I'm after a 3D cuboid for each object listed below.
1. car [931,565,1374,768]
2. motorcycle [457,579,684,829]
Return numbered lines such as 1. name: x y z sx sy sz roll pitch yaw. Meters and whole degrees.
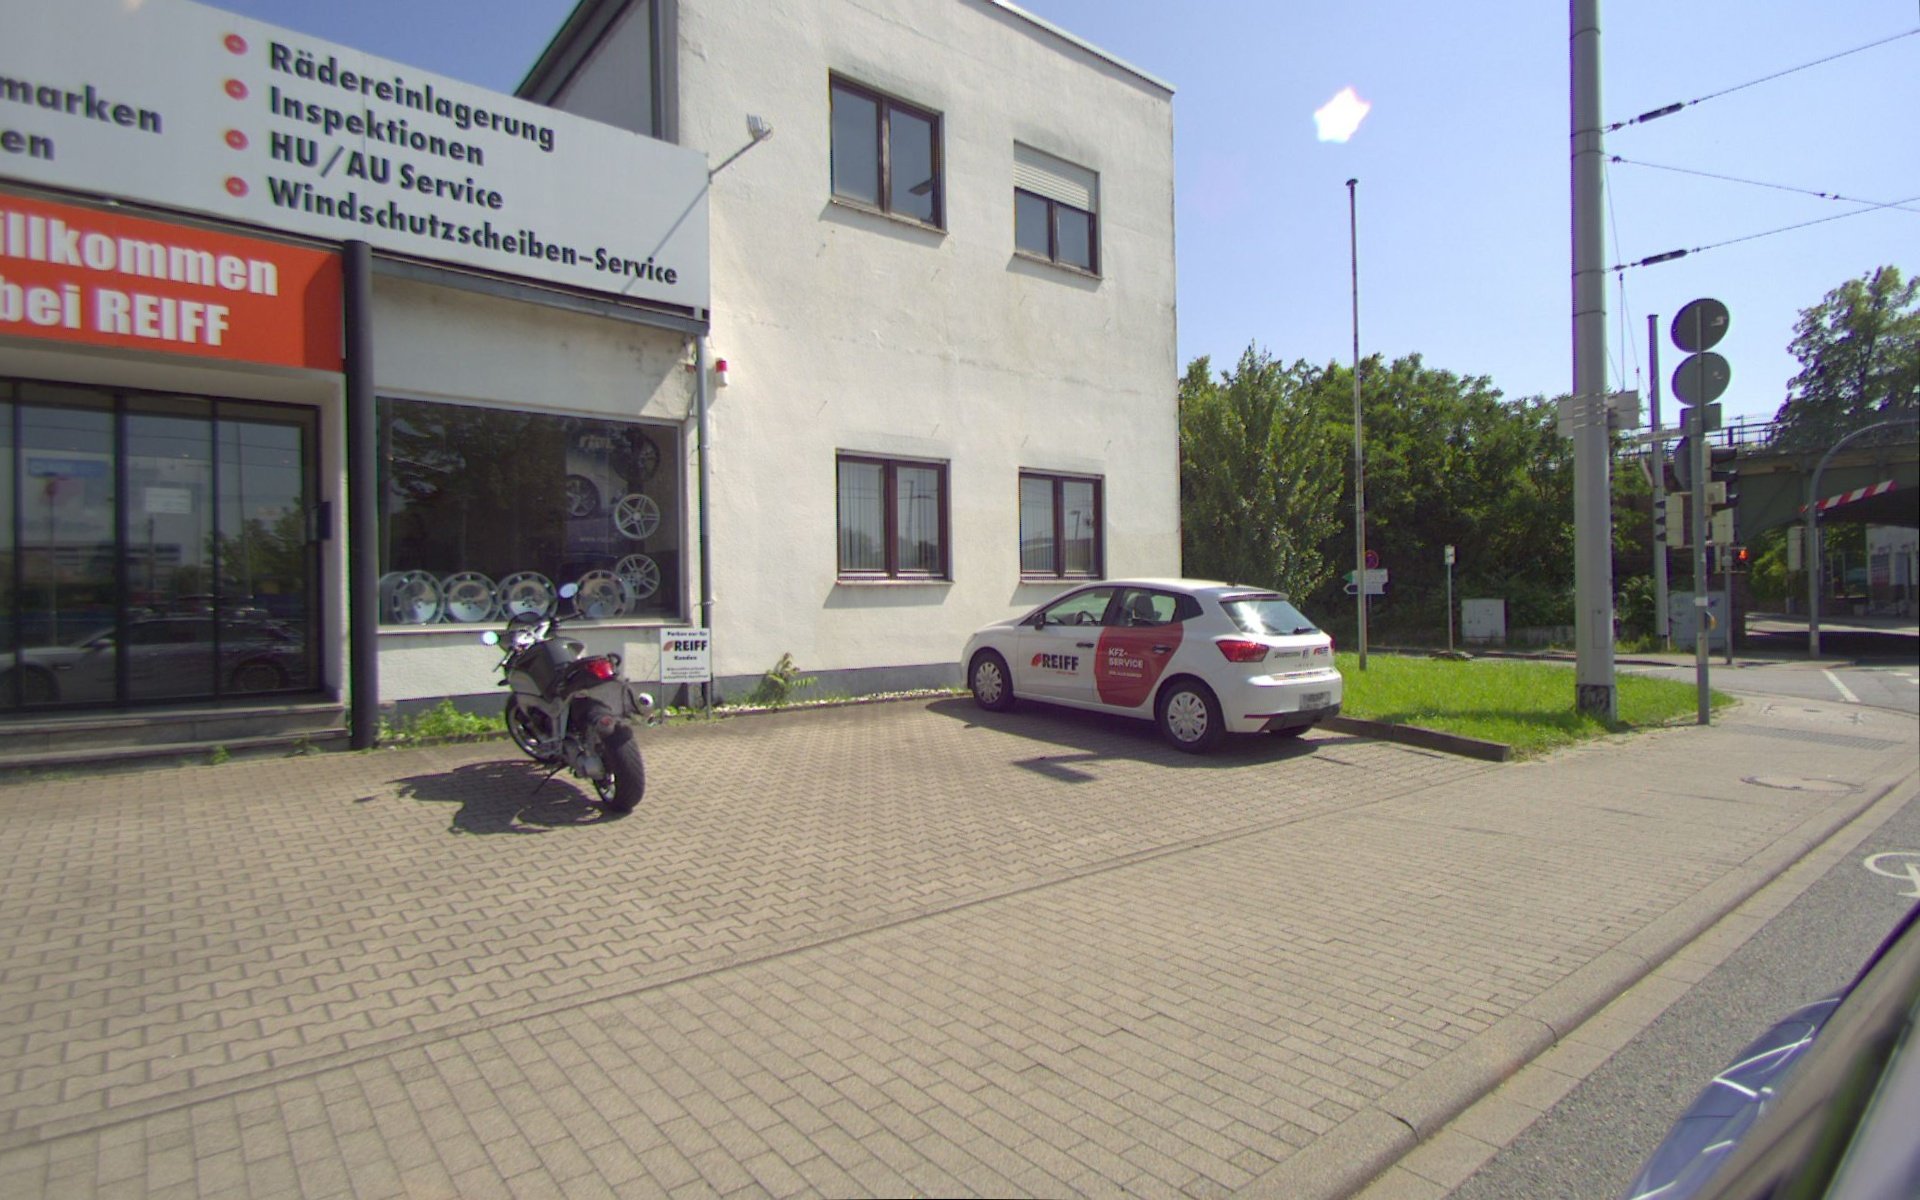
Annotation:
1. car: 1.700 0.453 9.992 1.857 1.480 3.996 -1 3 -41
2. motorcycle: -2.638 0.556 6.669 0.718 1.324 2.188 -1 3 -40
